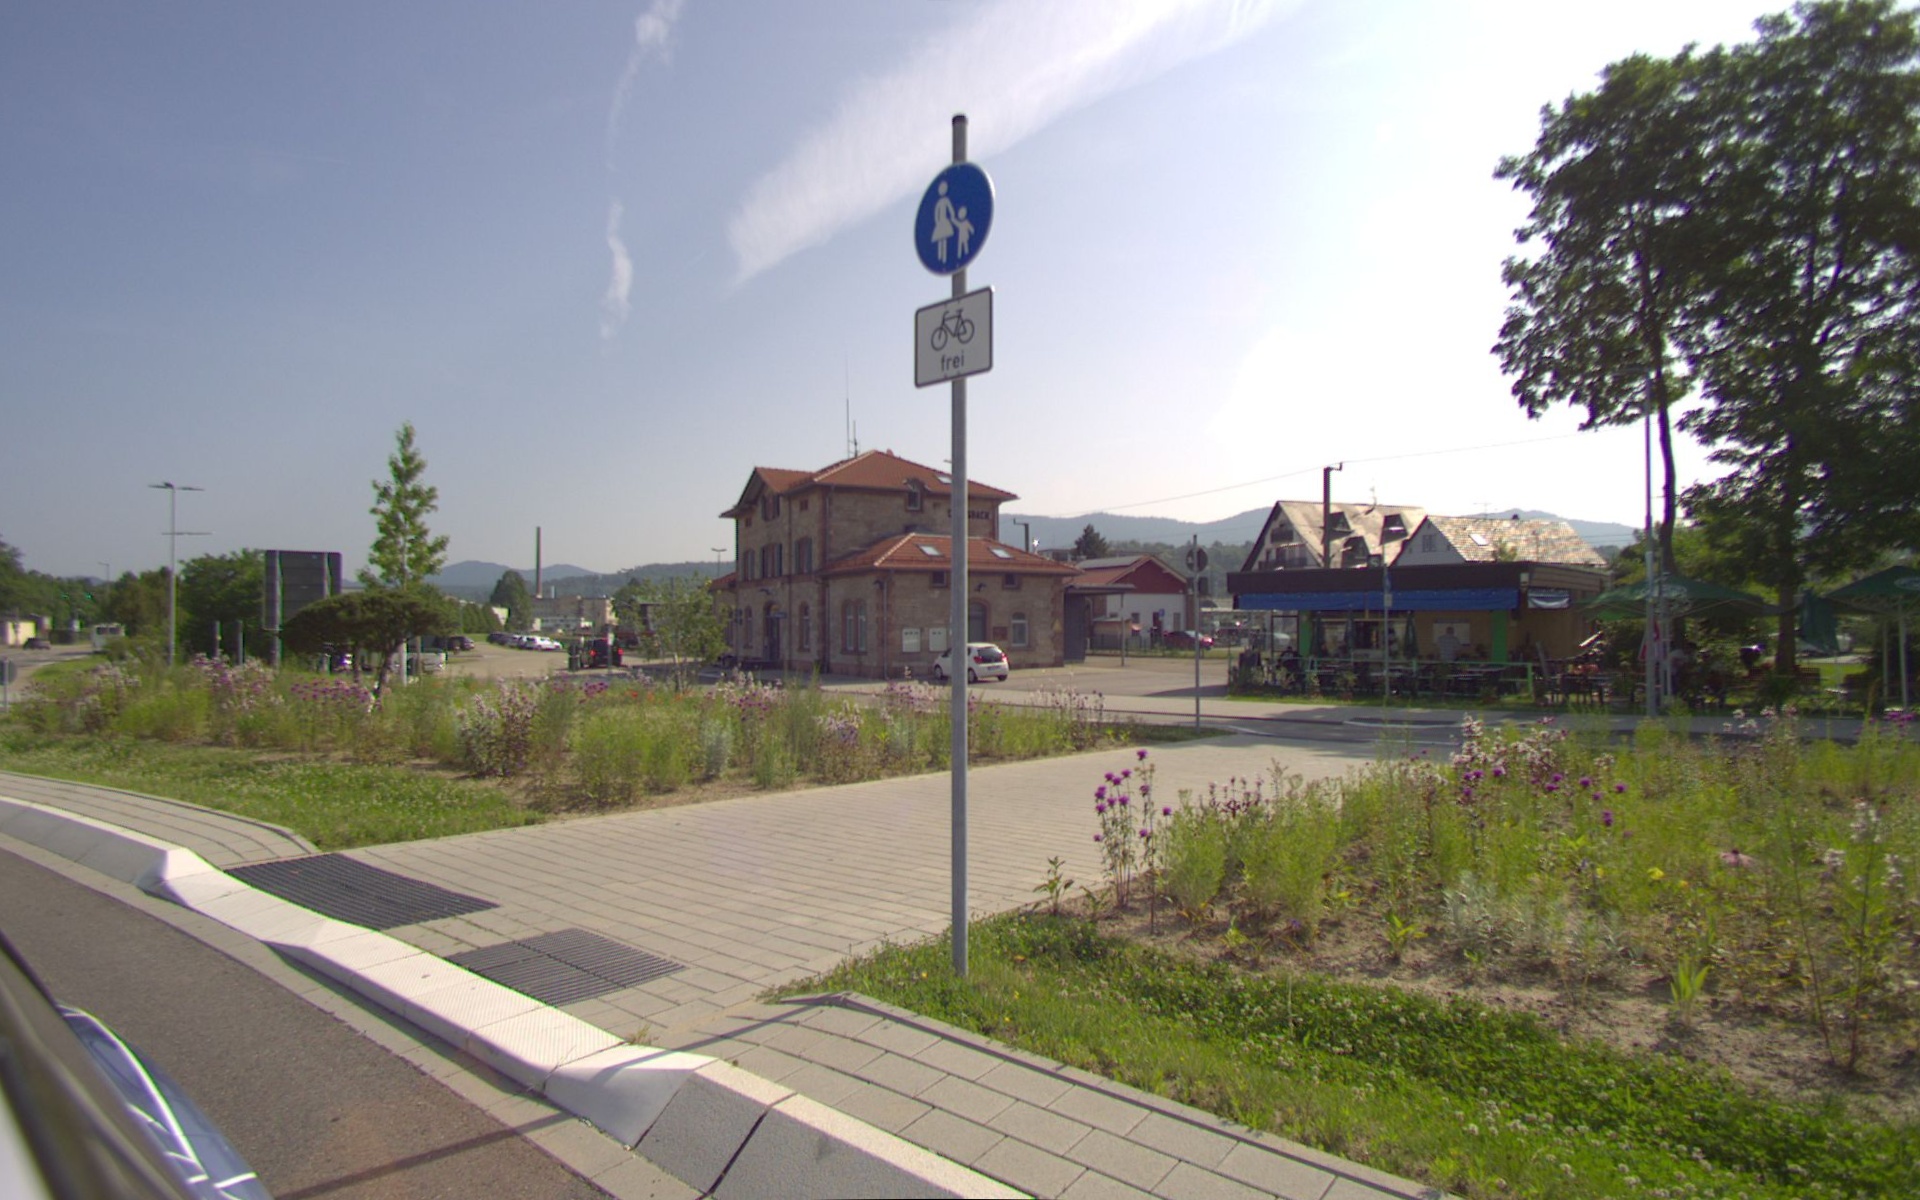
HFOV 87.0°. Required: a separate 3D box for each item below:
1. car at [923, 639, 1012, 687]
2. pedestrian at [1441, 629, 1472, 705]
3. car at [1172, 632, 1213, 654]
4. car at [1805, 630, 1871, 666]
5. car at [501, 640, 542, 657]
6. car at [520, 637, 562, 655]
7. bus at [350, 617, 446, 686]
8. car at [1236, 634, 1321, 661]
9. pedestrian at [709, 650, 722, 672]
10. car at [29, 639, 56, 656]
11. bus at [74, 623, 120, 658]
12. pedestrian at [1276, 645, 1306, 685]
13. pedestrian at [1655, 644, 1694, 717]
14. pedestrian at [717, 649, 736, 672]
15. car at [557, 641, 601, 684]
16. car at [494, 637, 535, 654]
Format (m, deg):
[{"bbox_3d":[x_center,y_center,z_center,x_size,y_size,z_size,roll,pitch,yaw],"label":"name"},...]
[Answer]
[{"bbox_3d":[0.247,2.428,39.822,1.652,1.580,3.660,-2,1,-36],"label":"car"},{"bbox_3d":[13.867,1.858,28.282,0.705,2.029,0.851,-3,0,26],"label":"pedestrian"},{"bbox_3d":[18.210,3.355,79.365,1.580,1.506,3.662,-2,1,-16],"label":"car"},{"bbox_3d":[42.818,2.317,49.339,3.591,1.506,1.611,-2,1,-35],"label":"car"},{"bbox_3d":[-50.604,5.552,116.788,1.837,1.740,3.946,-3,0,40],"label":"car"},{"bbox_3d":[-46.863,5.096,113.280,1.837,1.740,3.946,-3,0,40],"label":"car"},{"bbox_3d":[-31.066,2.728,55.687,2.548,3.354,10.606,-2,0,-40],"label":"bus"},{"bbox_3d":[15.668,2.344,49.916,1.407,1.186,3.745,-2,-1,-41],"label":"car"},{"bbox_3d":[-13.373,3.337,55.307,0.504,1.171,0.508,-2,0,-30],"label":"pedestrian"},{"bbox_3d":[-108.409,5.618,119.514,3.998,1.807,1.861,-3,0,41],"label":"car"},{"bbox_3d":[-85.055,3.927,99.853,2.823,3.216,9.137,-1,-1,-37],"label":"bus"},{"bbox_3d":[10.051,1.964,30.741,0.680,1.172,0.552,-3,0,37],"label":"pedestrian"},{"bbox_3d":[16.326,1.832,23.147,0.565,1.602,0.644,-3,0,26],"label":"pedestrian"},{"bbox_3d":[-12.326,3.193,53.416,0.777,1.171,0.508,-2,0,-30],"label":"pedestrian"},{"bbox_3d":[-20.124,3.235,53.332,1.944,1.979,5.174,-2,0,-22],"label":"car"},{"bbox_3d":[-53.068,5.371,120.600,1.837,1.740,3.946,-3,0,40],"label":"car"}]
